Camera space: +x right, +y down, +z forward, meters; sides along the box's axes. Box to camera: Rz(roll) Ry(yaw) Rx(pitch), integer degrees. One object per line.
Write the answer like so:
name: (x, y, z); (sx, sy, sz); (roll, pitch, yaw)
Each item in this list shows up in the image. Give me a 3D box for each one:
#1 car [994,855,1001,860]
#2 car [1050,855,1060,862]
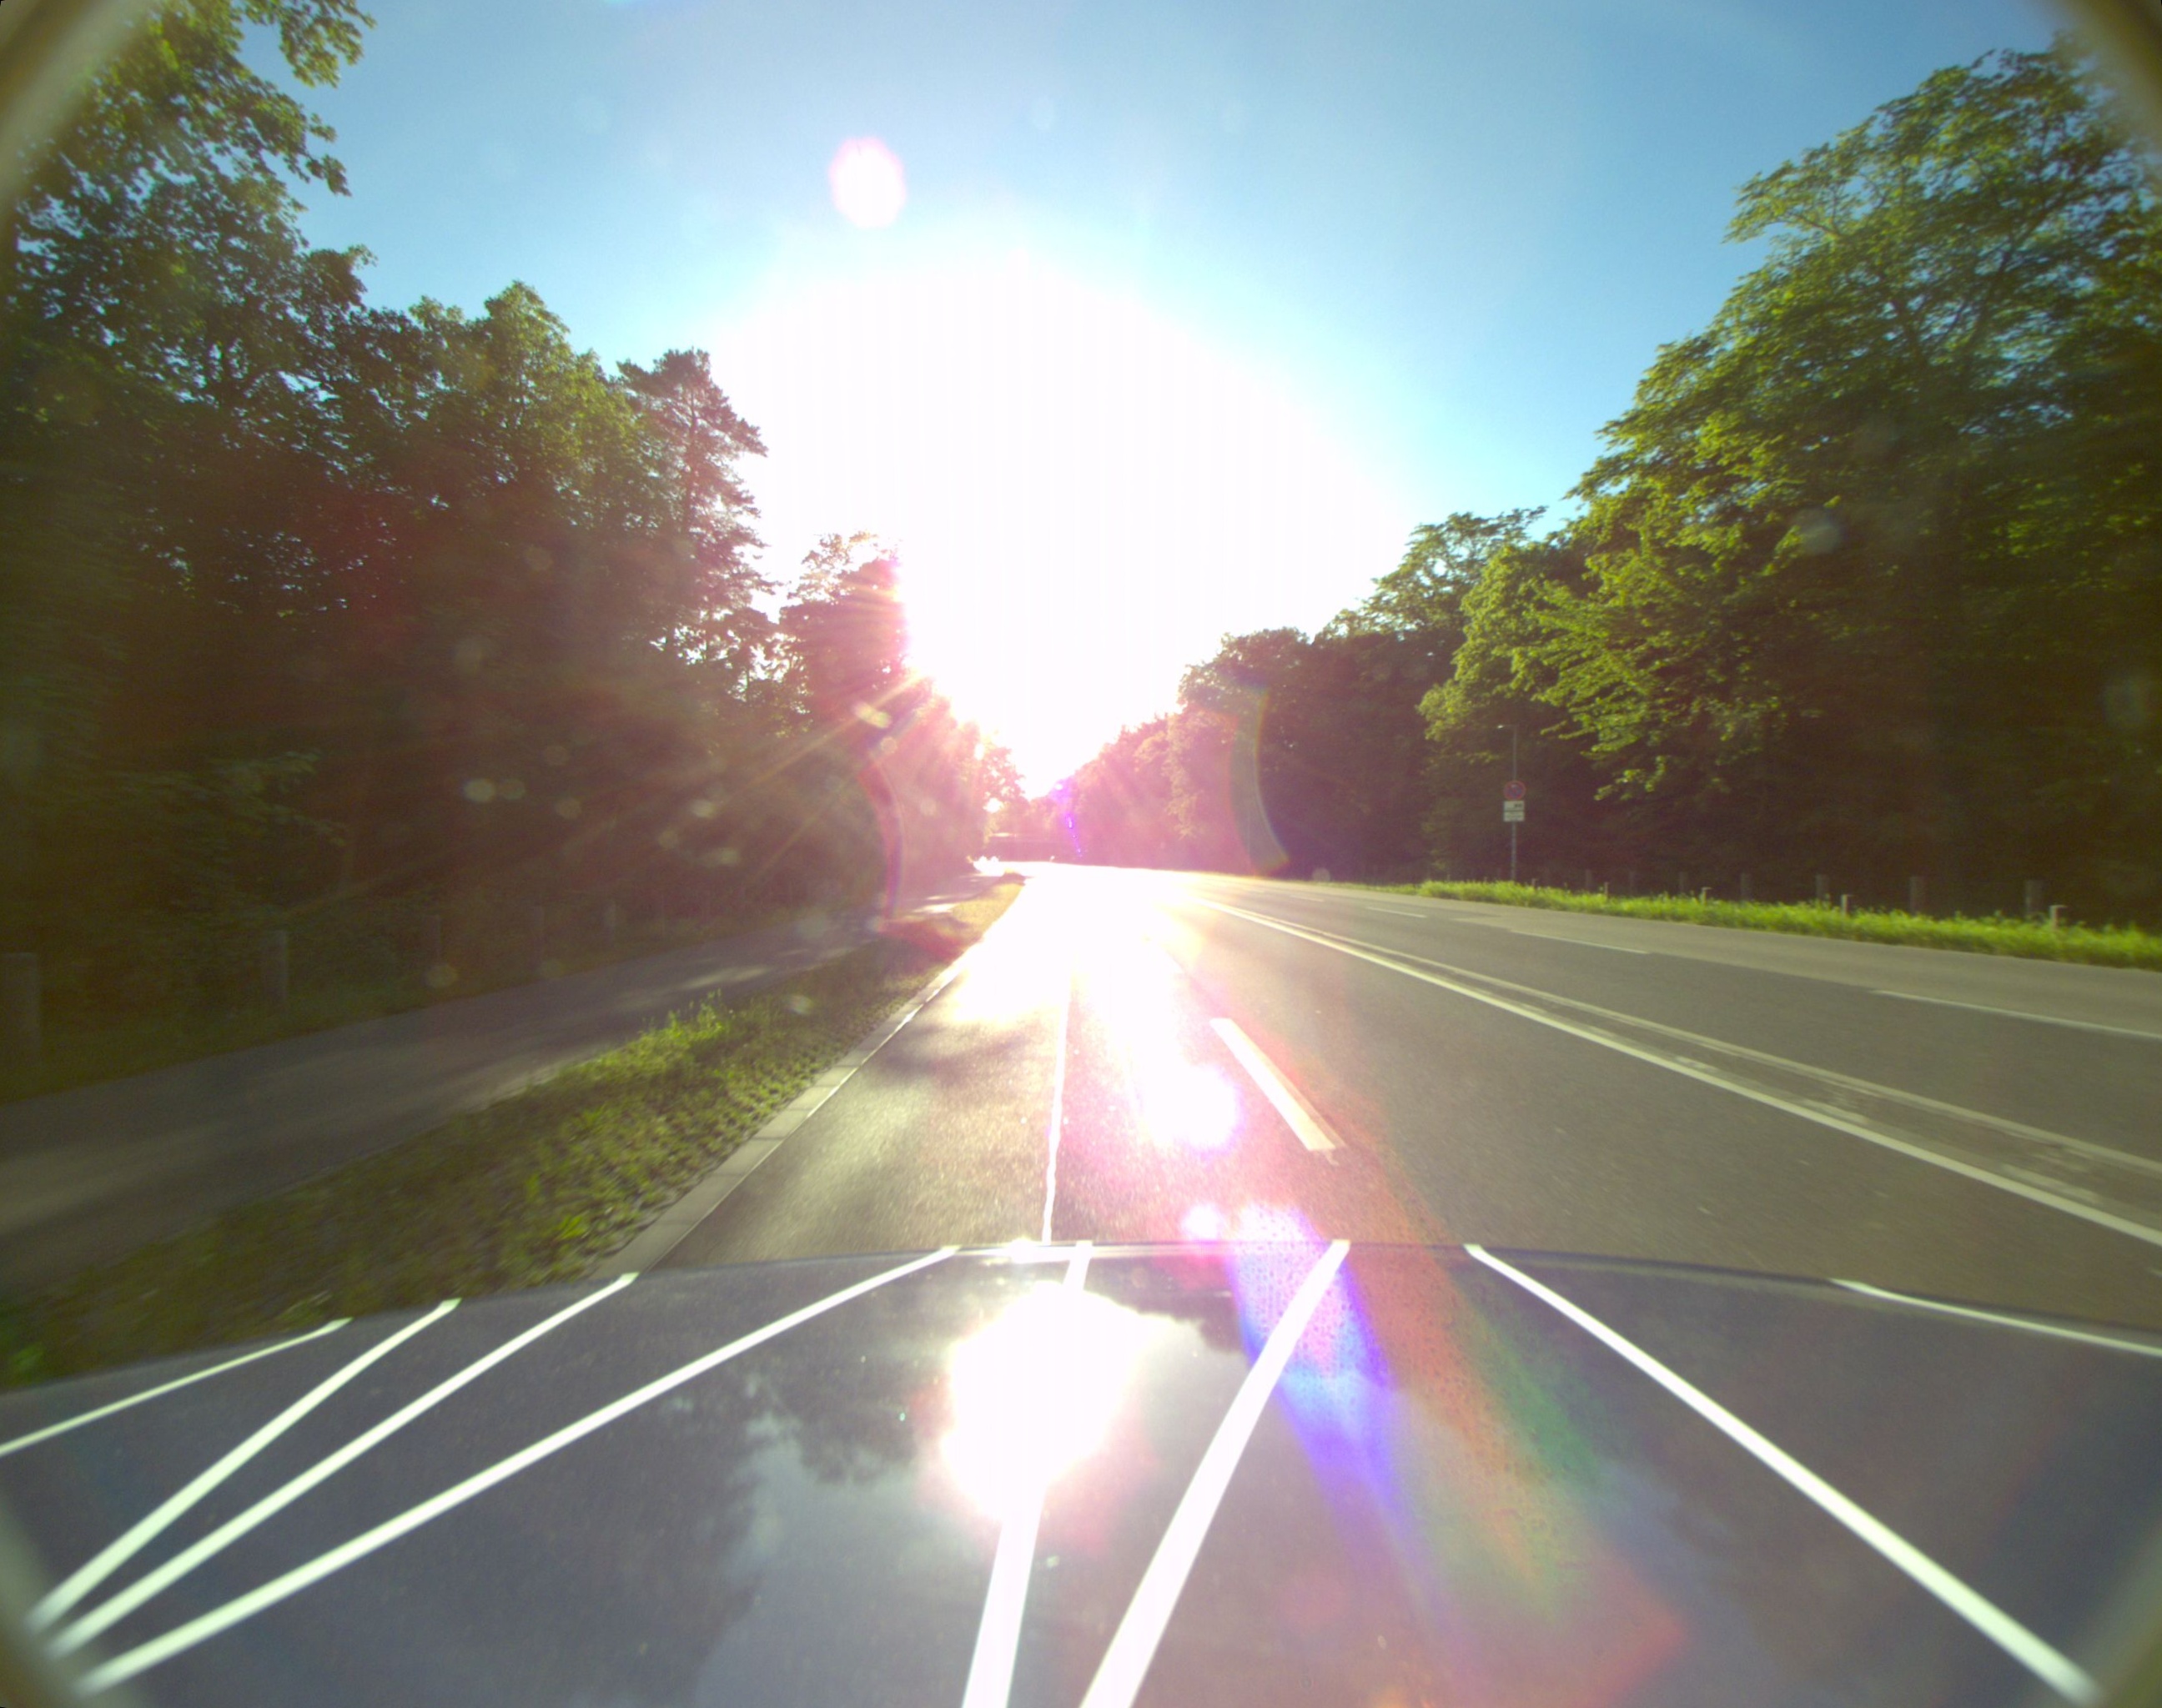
car: (-25.356, 1.030, 230.501); (1.828, 1.674, 3.995); (-1, 0, -12)
car: (-5.438, 0.968, 158.538); (1.592, 1.429, 4.306); (-3, 0, -6)
